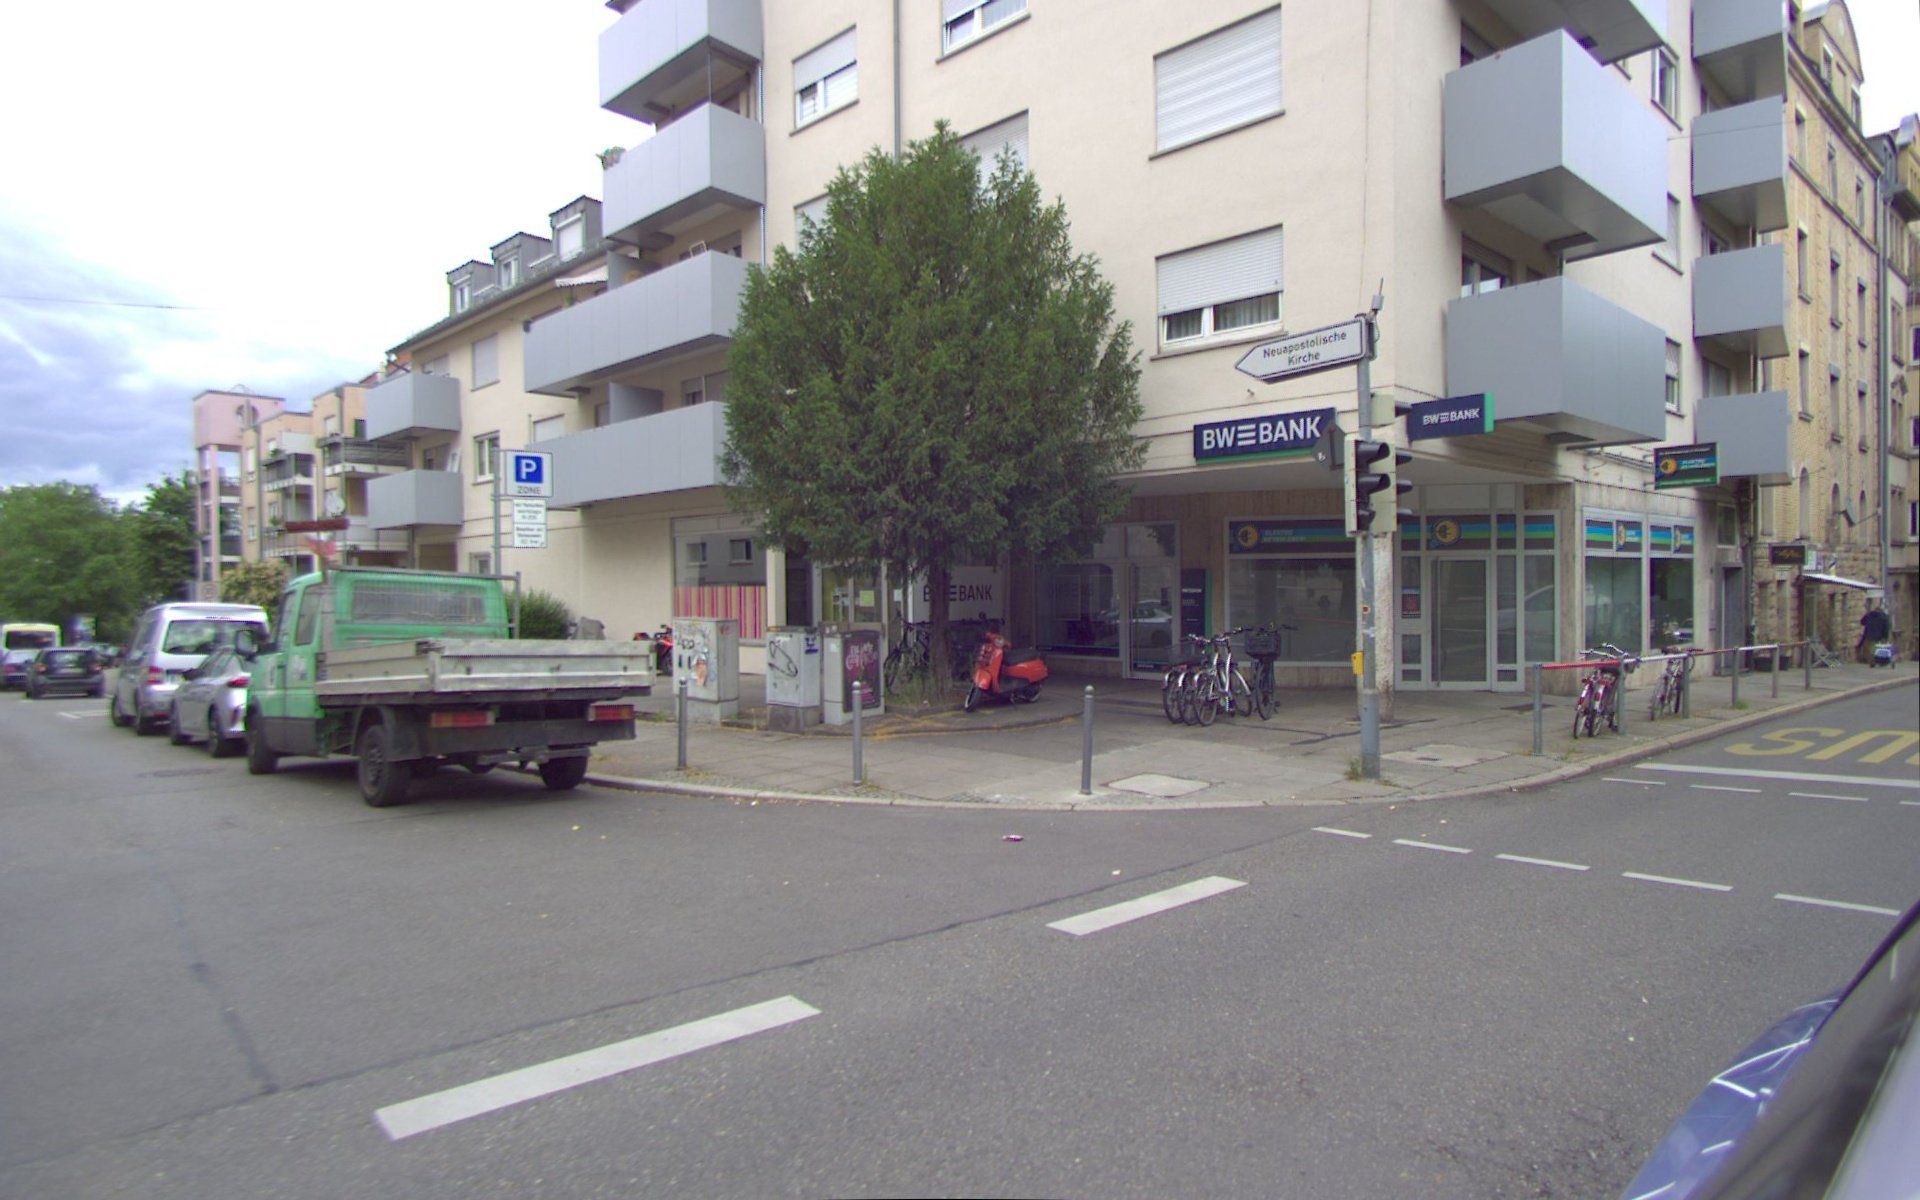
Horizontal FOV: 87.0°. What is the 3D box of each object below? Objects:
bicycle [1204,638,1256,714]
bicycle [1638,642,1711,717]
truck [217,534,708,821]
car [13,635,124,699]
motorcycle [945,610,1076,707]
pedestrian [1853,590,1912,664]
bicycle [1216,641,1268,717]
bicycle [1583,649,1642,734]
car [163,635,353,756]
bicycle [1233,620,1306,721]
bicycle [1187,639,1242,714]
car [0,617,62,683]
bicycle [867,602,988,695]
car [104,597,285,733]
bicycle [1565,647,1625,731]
[{"bbox_3d":[3.590,0.985,13.411,0.141,0.918,1.231,0,1,41],"label":"bicycle"},{"bbox_3d":[9.643,1.050,13.645,1.261,0.919,0.442,0,-1,-37],"label":"bicycle"},{"bbox_3d":[-5.353,0.710,10.430,5.835,2.134,2.515,-3,-4,42],"label":"truck"},{"bbox_3d":[-27.853,2.021,31.578,4.671,1.722,2.114,-1,-1,42],"label":"car"},{"bbox_3d":[0.716,0.768,13.939,1.897,1.211,0.591,0,2,-41],"label":"motorcycle"},{"bbox_3d":[26.127,0.747,28.663,1.183,2.039,1.083,1,-1,-41],"label":"pedestrian"},{"bbox_3d":[3.719,1.020,13.294,0.120,0.919,1.266,-1,-1,41],"label":"bicycle"},{"bbox_3d":[7.614,1.050,11.798,1.261,0.919,0.154,0,-1,-37],"label":"bicycle"},{"bbox_3d":[-9.923,1.226,14.206,3.786,1.394,1.538,-1,-1,45],"label":"car"},{"bbox_3d":[4.000,0.877,13.035,0.398,1.220,1.266,-2,-2,41],"label":"bicycle"},{"bbox_3d":[3.413,1.004,13.534,0.183,0.919,1.218,-1,-1,41],"label":"bicycle"},{"bbox_3d":[-41.006,2.111,44.210,4.671,2.712,2.214,-1,-1,43],"label":"car"},{"bbox_3d":[-0.440,0.663,14.527,1.850,1.271,0.439,0,-1,-39],"label":"bicycle"},{"bbox_3d":[-13.549,1.117,17.820,4.388,2.096,1.956,-4,-3,45],"label":"car"},{"bbox_3d":[7.498,1.027,11.933,1.261,0.919,0.154,0,-1,-37],"label":"bicycle"}]
